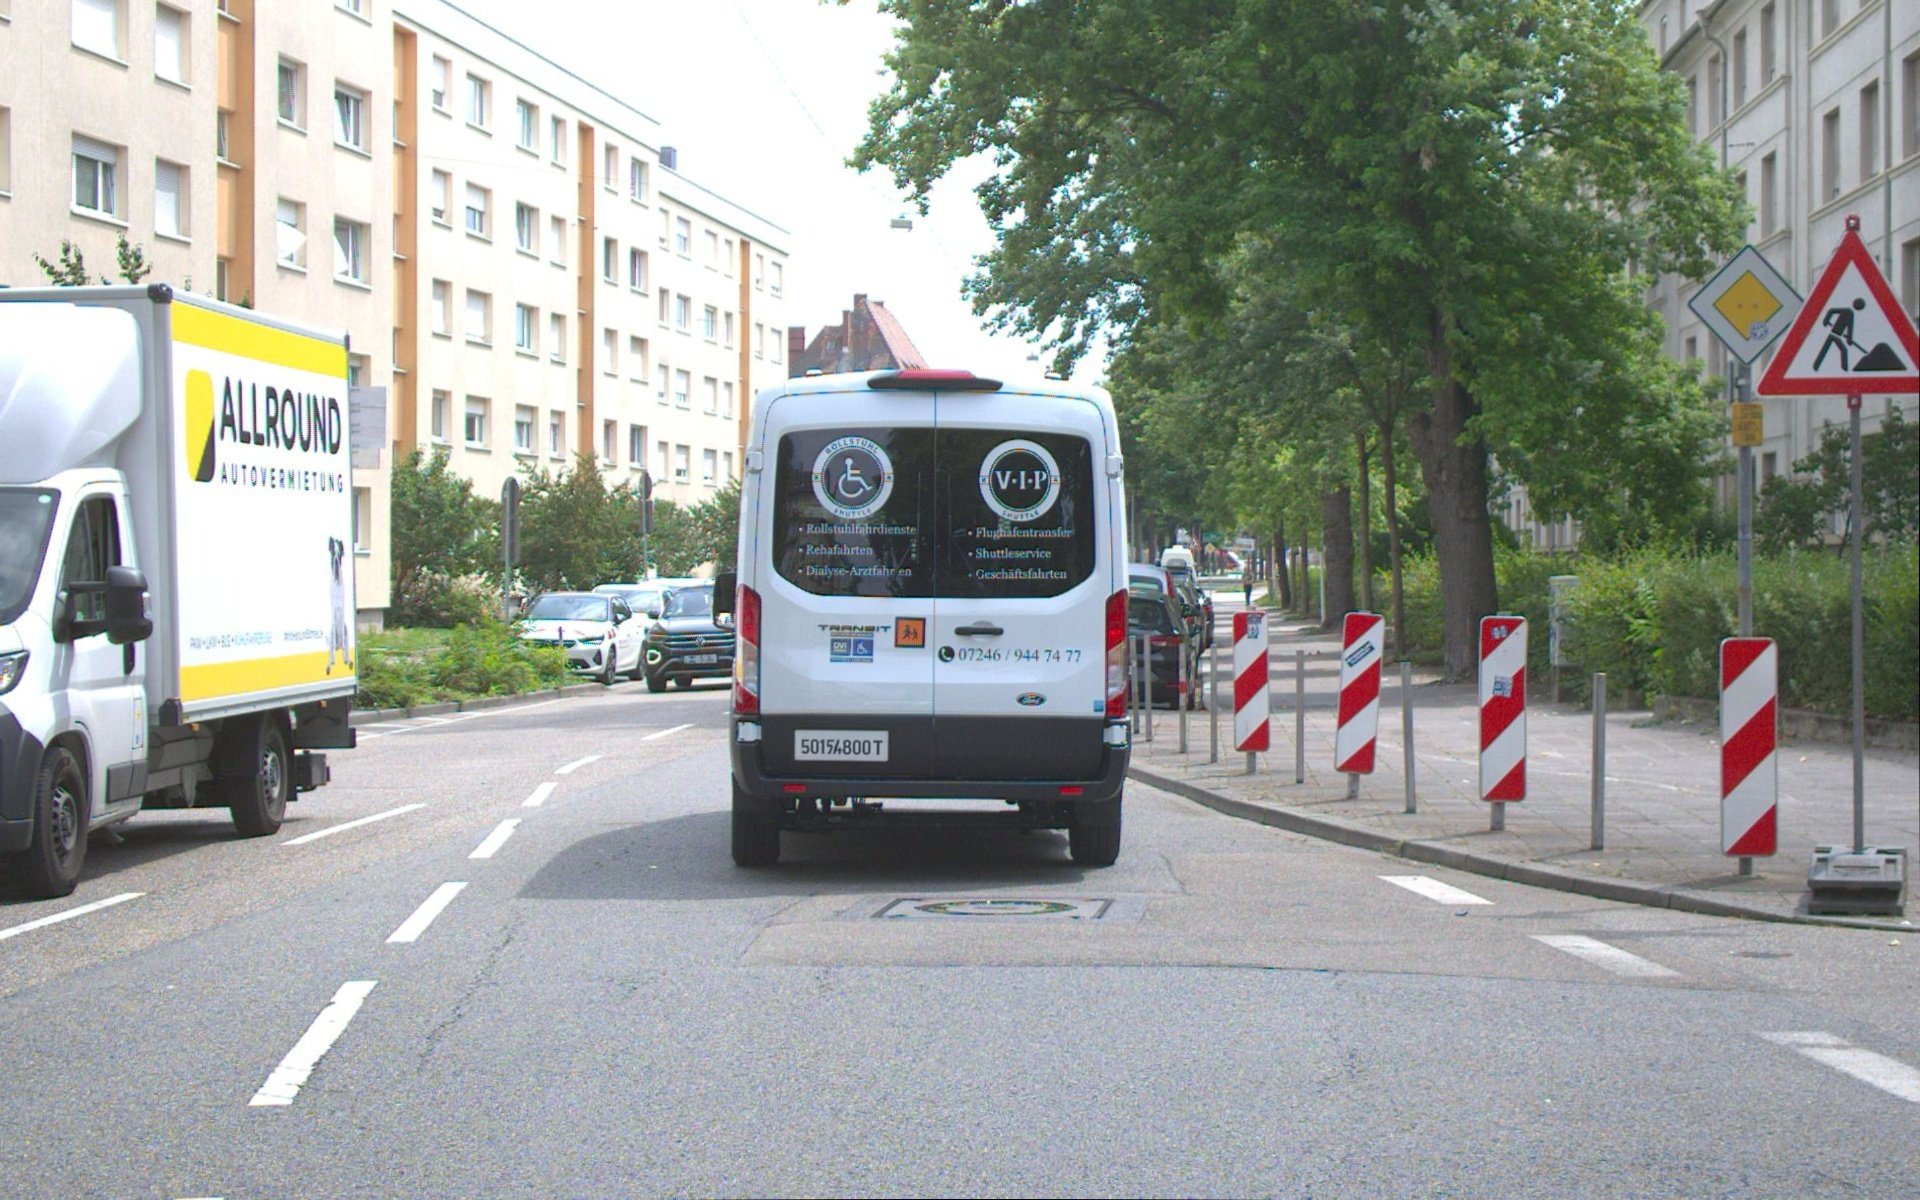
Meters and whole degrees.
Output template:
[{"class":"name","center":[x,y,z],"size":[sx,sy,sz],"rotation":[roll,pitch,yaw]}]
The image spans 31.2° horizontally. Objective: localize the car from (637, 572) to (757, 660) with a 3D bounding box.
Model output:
[{"class":"car","center":[-5.100,0.288,67.195],"size":[1.697,1.607,4.477],"rotation":[2,1,4]}]

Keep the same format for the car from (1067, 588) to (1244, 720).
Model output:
[{"class":"car","center":[2.360,0.597,40.587],"size":[1.918,1.439,4.238],"rotation":[1,0,5]}]

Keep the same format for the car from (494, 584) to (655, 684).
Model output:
[{"class":"car","center":[-6.093,0.516,54.709],"size":[1.709,1.468,3.988],"rotation":[2,1,6]}]

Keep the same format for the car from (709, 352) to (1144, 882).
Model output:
[{"class":"car","center":[-0.076,0.082,18.901],"size":[2.070,2.532,4.634],"rotation":[-1,0,2]}]

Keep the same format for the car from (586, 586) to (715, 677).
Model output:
[{"class":"car","center":[-5.373,0.531,60.110],"size":[1.708,1.468,3.989],"rotation":[2,1,2]}]

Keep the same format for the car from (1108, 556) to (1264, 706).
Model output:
[{"class":"car","center":[3.103,0.377,46.338],"size":[1.918,1.859,4.845],"rotation":[2,1,5]}]

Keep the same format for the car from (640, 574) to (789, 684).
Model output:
[{"class":"car","center":[-3.579,0.401,50.680],"size":[1.697,1.513,4.000],"rotation":[-1,1,3]}]

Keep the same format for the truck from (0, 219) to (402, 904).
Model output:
[{"class":"truck","center":[-5.244,-0.173,19.140],"size":[2.541,3.097,7.019],"rotation":[-2,0,5]}]

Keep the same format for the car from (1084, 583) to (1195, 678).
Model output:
[{"class":"car","center":[2.884,0.463,55.585],"size":[1.697,1.445,4.101],"rotation":[1,1,2]}]

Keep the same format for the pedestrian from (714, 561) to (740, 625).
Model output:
[{"class":"pedestrian","center":[-6.640,-0.198,98.137],"size":[0.619,1.807,0.899],"rotation":[1,0,2]}]
